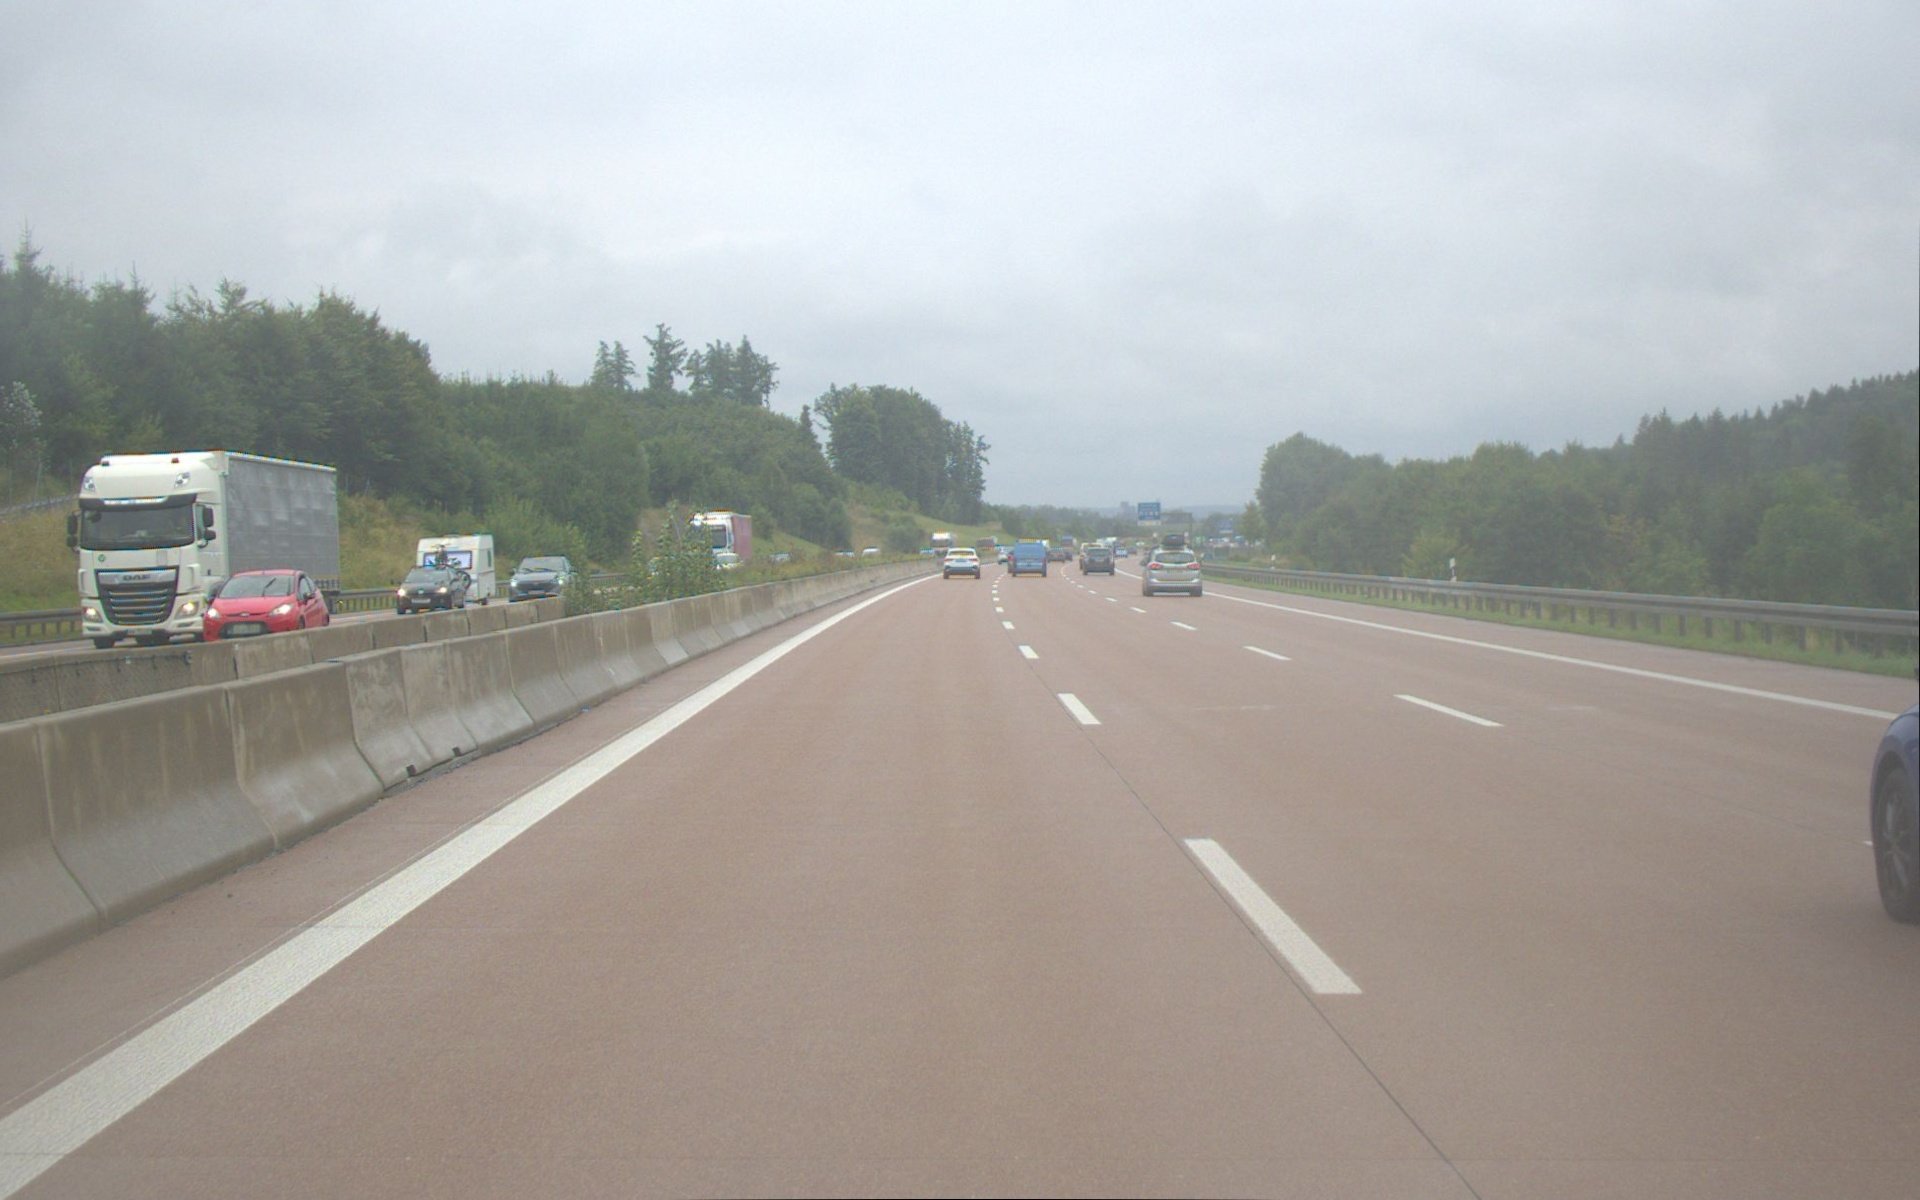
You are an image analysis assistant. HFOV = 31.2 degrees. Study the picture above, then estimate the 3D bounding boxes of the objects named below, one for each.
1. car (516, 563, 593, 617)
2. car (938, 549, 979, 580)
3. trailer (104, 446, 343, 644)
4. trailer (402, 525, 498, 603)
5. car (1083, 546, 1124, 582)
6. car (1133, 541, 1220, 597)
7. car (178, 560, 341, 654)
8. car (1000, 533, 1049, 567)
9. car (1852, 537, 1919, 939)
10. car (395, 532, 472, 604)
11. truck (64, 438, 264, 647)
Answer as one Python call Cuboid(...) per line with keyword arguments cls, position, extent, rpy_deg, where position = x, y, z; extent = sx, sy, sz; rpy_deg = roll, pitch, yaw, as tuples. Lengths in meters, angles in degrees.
Cuboid(cls="car", position=(-12.574, -0.343, 106.914), extent=(1.692, 1.552, 5.677), rpy_deg=(-2, 1, 0))
Cuboid(cls="car", position=(-0.081, -1.771, 172.497), extent=(1.874, 1.439, 4.877), rpy_deg=(1, 0, -2))
Cuboid(cls="trailer", position=(-16.776, -1.144, 79.349), extent=(2.739, 4.126, 12.755), rpy_deg=(-2, 0, 0))
Cuboid(cls="trailer", position=(-16.801, -1.212, 113.484), extent=(2.277, 2.403, 5.438), rpy_deg=(-3, 1, 0))
Cuboid(cls="car", position=(8.284, -2.076, 198.261), extent=(1.993, 2.007, 4.000), rpy_deg=(1, 0, -2))
Cuboid(cls="car", position=(7.016, -0.990, 112.091), extent=(2.322, 1.744, 4.877), rpy_deg=(1, 0, -2))
Cuboid(cls="car", position=(-12.366, 0.127, 60.936), extent=(1.993, 1.540, 4.280), rpy_deg=(-2, 0, 0))
Cuboid(cls="car", position=(3.480, -2.680, 185.979), extent=(2.322, 1.744, 4.877), rpy_deg=(1, 0, -2))
Cuboid(cls="car", position=(4.622, 0.542, 12.260), extent=(1.771, 1.559, 4.146), rpy_deg=(1, 0, 0))
Cuboid(cls="car", position=(-16.588, -1.025, 108.518), extent=(1.758, 2.145, 4.429), rpy_deg=(-2, 1, -1))
Cuboid(cls="truck", position=(-16.734, -1.154, 72.614), extent=(2.768, 4.161, 6.001), rpy_deg=(-2, 0, 0))
